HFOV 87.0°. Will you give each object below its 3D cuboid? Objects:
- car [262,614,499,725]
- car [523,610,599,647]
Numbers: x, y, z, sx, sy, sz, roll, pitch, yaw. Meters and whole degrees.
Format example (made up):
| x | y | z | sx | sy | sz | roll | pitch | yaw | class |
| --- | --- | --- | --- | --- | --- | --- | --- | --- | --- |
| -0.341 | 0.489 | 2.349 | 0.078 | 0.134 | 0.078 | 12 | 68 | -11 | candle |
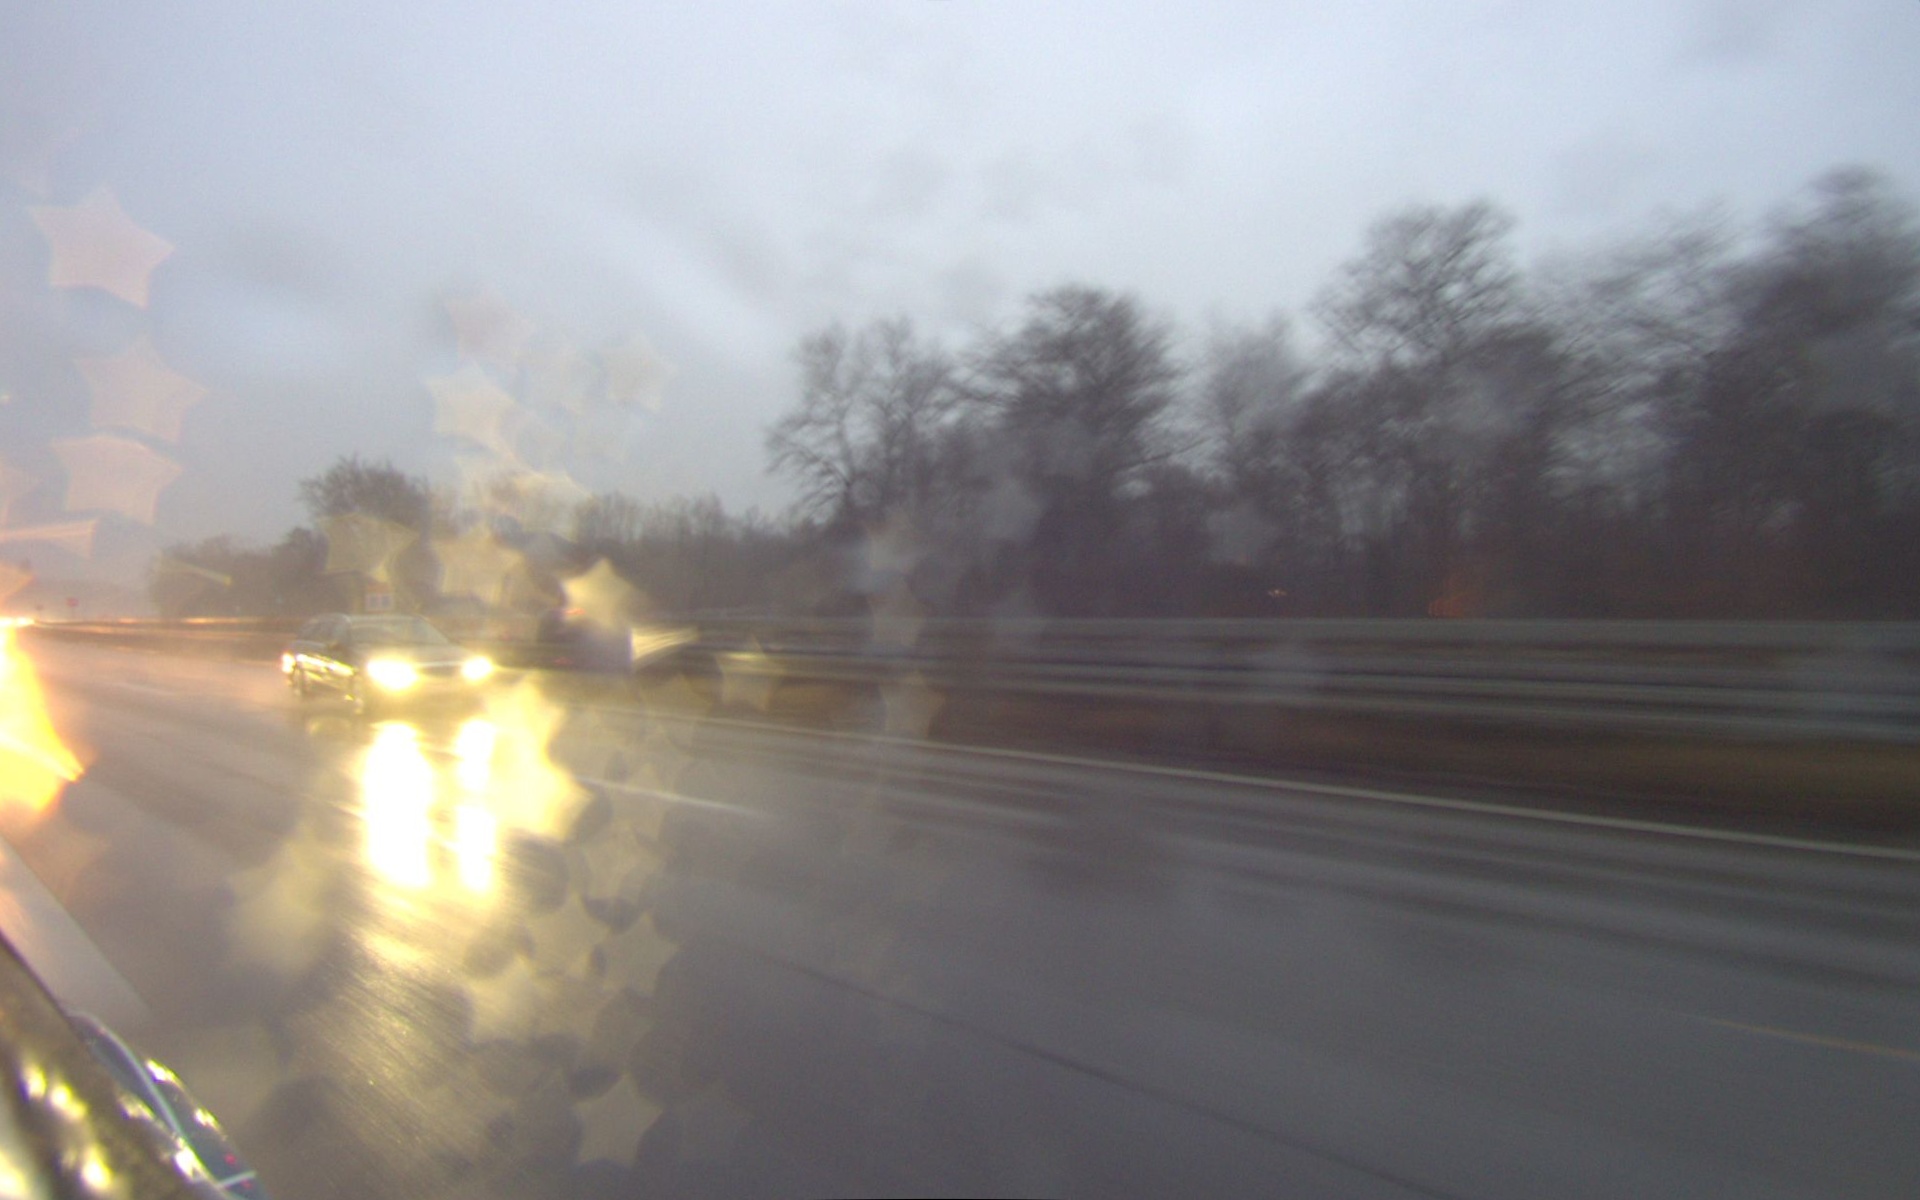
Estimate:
| x | y | z | sx | sy | sz | roll | pitch | yaw | class |
| --- | --- | --- | --- | --- | --- | --- | --- | --- | --- |
| -9.343 | 1.030 | 16.178 | 4.408 | 1.479 | 1.781 | -2 | 0 | 39 | car |
| -17.296 | 1.206 | 43.801 | 1.722 | 1.498 | 4.004 | -2 | 1 | -43 | car |
